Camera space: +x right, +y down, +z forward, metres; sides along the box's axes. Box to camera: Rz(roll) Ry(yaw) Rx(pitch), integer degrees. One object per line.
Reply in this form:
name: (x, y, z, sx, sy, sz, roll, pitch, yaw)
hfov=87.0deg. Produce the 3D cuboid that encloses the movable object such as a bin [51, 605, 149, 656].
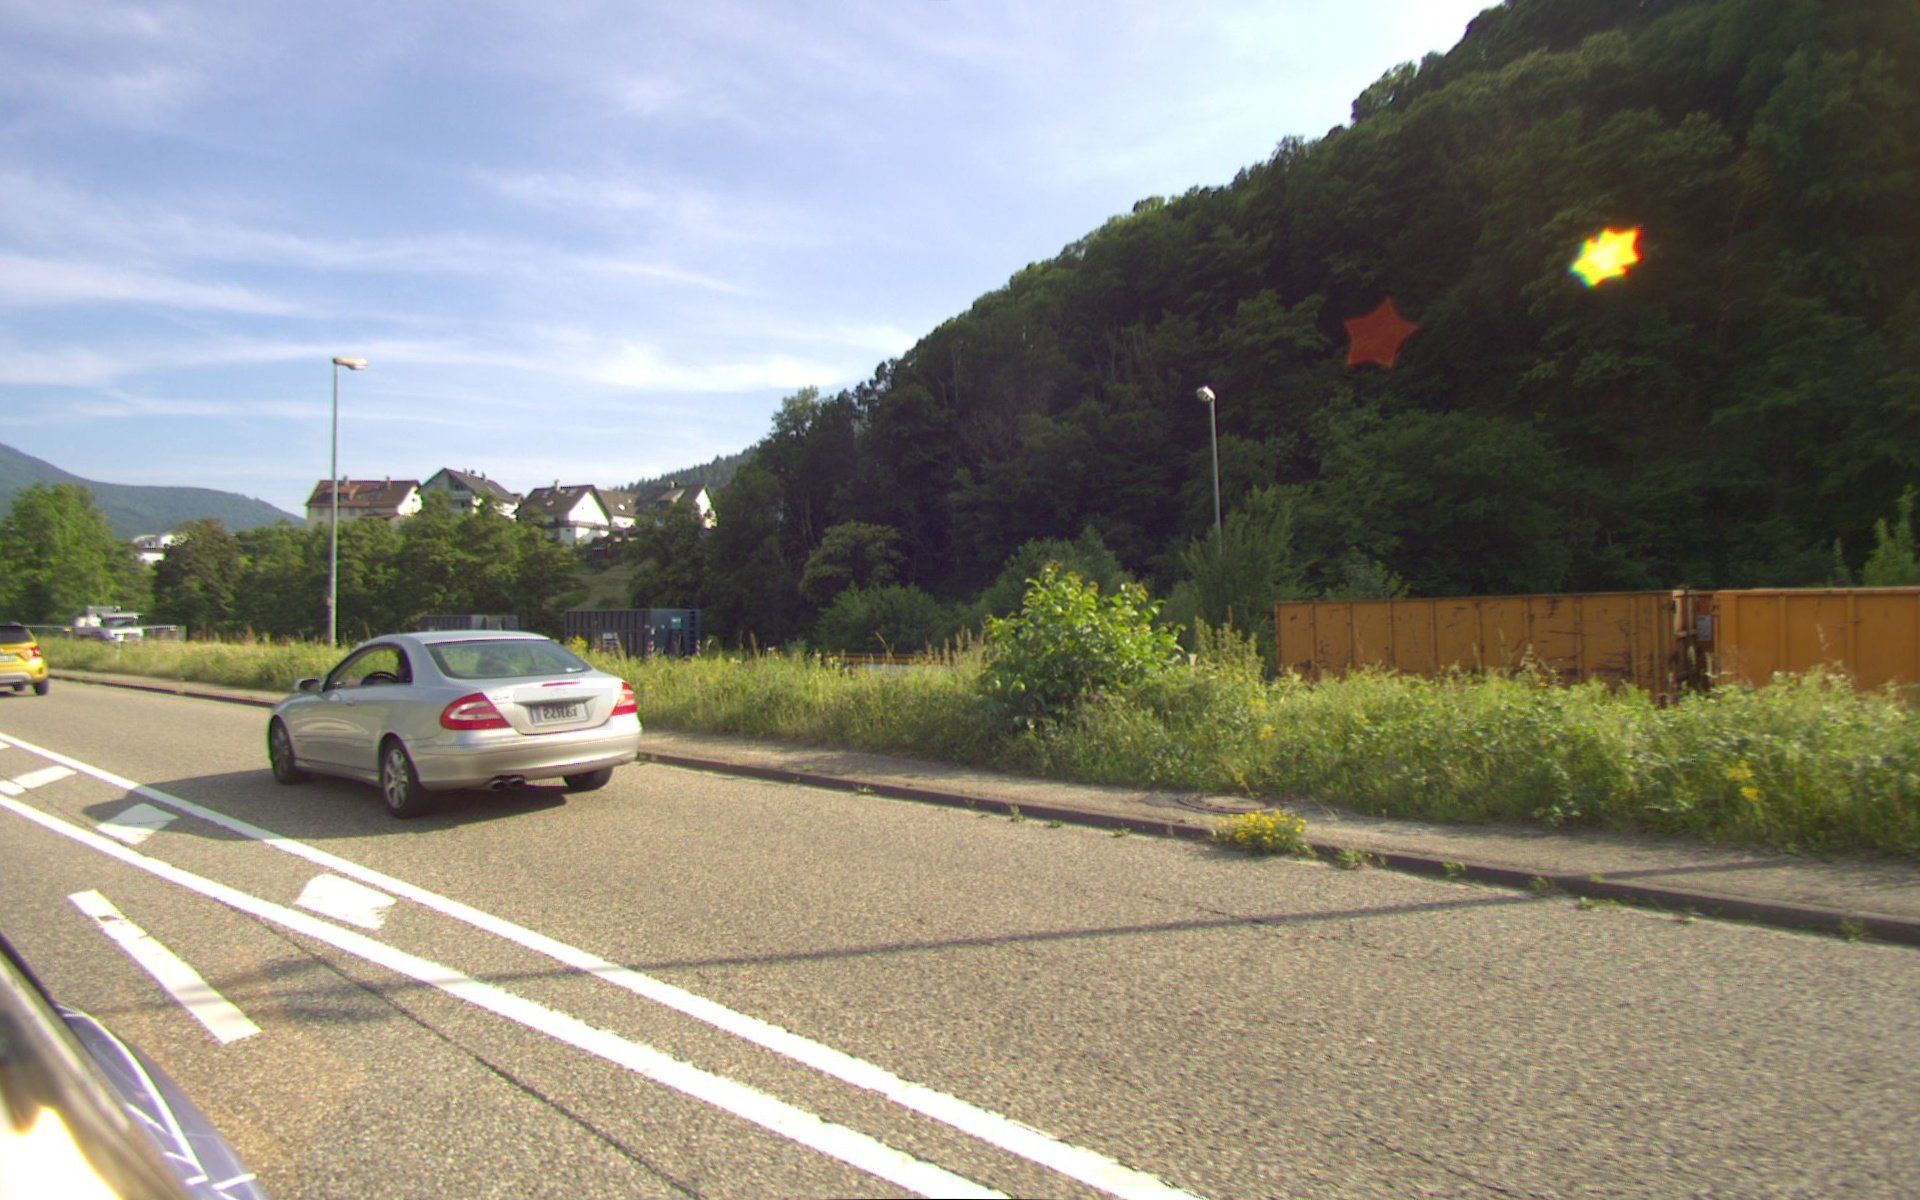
movable object such as a bin: (-69.847, 2.467, 82.208, 7.762, 3.977, 2.883, 0, -4, 24)

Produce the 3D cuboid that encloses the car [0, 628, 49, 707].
car: (-21.501, 1.470, 22.244, 3.793, 1.637, 1.706, -2, -1, 40)

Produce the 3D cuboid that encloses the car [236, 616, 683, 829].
car: (-4.516, 0.878, 8.800, 4.505, 1.358, 1.760, -2, 0, 39)
